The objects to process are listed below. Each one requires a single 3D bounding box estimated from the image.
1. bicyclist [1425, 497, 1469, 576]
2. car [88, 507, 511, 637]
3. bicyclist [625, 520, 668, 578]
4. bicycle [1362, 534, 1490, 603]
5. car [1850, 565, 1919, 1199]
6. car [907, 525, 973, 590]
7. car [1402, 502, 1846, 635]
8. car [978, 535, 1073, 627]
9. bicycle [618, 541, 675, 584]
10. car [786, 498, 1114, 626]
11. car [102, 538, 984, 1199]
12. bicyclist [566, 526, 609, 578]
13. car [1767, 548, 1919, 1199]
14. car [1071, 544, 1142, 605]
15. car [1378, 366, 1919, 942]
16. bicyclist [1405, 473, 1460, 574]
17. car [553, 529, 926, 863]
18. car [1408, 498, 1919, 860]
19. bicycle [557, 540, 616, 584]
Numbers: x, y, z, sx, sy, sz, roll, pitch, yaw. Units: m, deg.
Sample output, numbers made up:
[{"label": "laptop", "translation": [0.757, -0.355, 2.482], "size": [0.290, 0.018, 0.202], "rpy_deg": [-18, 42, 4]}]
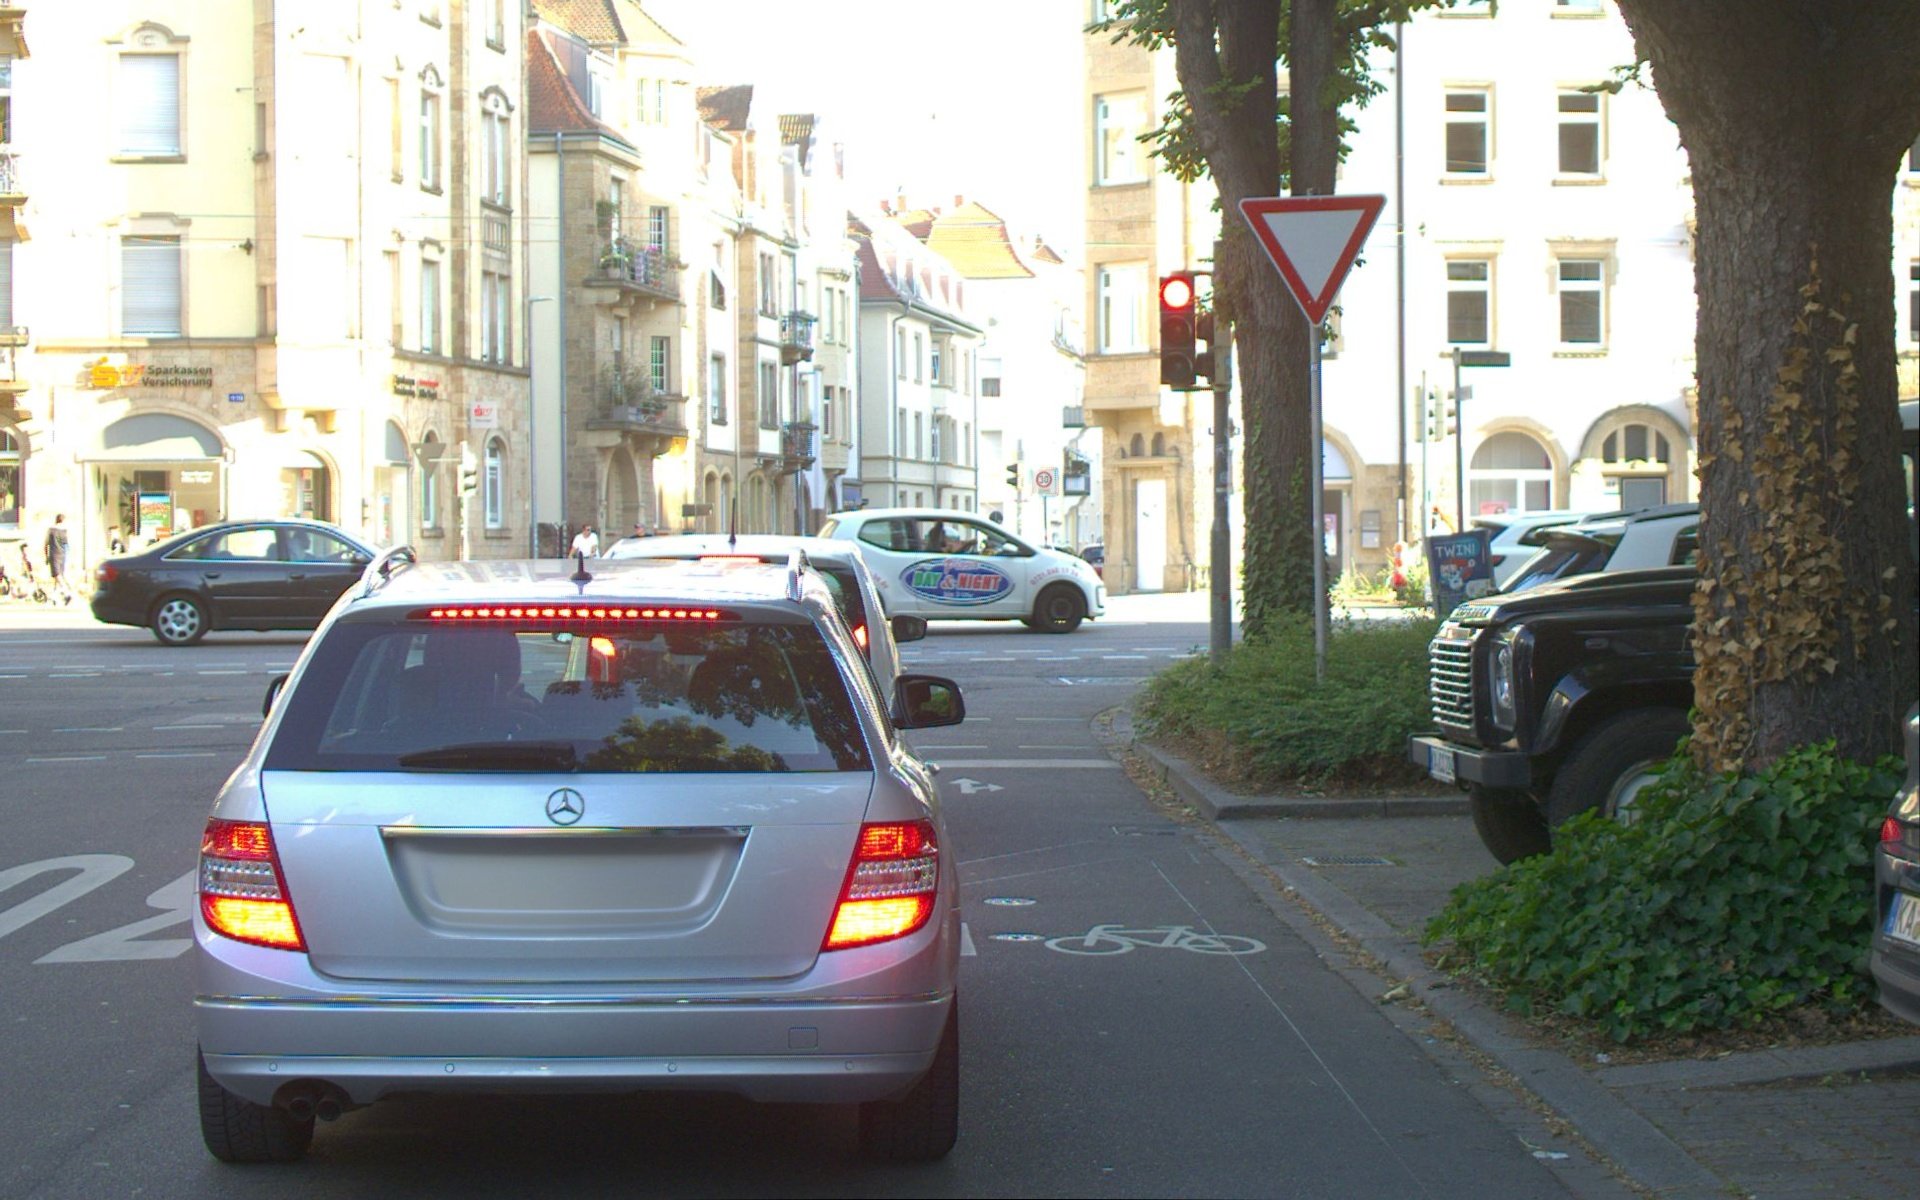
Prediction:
[{"label": "bicyclist", "translation": [8.791, -1.155, 62.088], "size": [0.643, 1.421, 0.637], "rpy_deg": [0, 1, -5]}, {"label": "car", "translation": [-7.587, -0.343, 39.777], "size": [4.687, 1.424, 1.719], "rpy_deg": [-1, 1, -9]}, {"label": "bicyclist", "translation": [-6.978, -1.138, 76.573], "size": [0.771, 1.285, 0.752], "rpy_deg": [1, 2, 11]}, {"label": "bicycle", "translation": [8.621, -0.585, 63.607], "size": [2.256, 1.242, 0.637], "rpy_deg": [0, 1, -5]}, {"label": "car", "translation": [3.715, 0.626, 5.530], "size": [4.052, 1.447, 1.723], "rpy_deg": [-1, 1, -4]}, {"label": "car", "translation": [-0.690, -1.508, 120.495], "size": [1.787, 2.196, 3.999], "rpy_deg": [0, 2, 8]}, {"label": "car", "translation": [7.557, -0.382, 39.281], "size": [4.660, 1.443, 1.740], "rpy_deg": [-1, 1, -10]}, {"label": "car", "translation": [1.726, -0.512, 89.066], "size": [2.031, 2.272, 3.999], "rpy_deg": [0, 2, 8]}, {"label": "bicycle", "translation": [-6.979, -0.845, 76.579], "size": [0.771, 0.930, 1.939], "rpy_deg": [1, 2, 10]}, {"label": "car", "translation": [-0.139, -0.464, 40.698], "size": [3.685, 1.444, 1.516], "rpy_deg": [-1, 1, -9]}, {"label": "car", "translation": [-0.947, 0.574, 9.248], "size": [1.777, 1.447, 4.549], "rpy_deg": [0, 1, -3]}, {"label": "bicyclist", "translation": [-8.285, -1.076, 76.555], "size": [0.771, 1.152, 0.752], "rpy_deg": [1, 2, 11]}, {"label": "car", "translation": [3.923, 0.572, 7.761], "size": [3.723, 1.447, 1.709], "rpy_deg": [-1, 1, -4]}, {"label": "car", "translation": [4.498, -0.798, 105.116], "size": [1.835, 1.738, 3.999], "rpy_deg": [0, 2, 8]}, {"label": "car", "translation": [4.013, 0.141, 13.320], "size": [4.464, 2.029, 1.701], "rpy_deg": [-1, 1, -4]}, {"label": "bicyclist", "translation": [8.743, -1.418, 63.598], "size": [0.891, 1.853, 0.637], "rpy_deg": [0, 1, -5]}, {"label": "car", "translation": [-1.061, 0.377, 17.200], "size": [1.619, 1.442, 4.345], "rpy_deg": [0, 1, -3]}, {"label": "car", "translation": [4.150, 0.313, 16.273], "size": [3.723, 1.564, 1.709], "rpy_deg": [-1, 1, -4]}, {"label": "bicycle", "translation": [-8.302, -0.853, 76.482], "size": [0.771, 0.936, 1.939], "rpy_deg": [1, 2, 10]}]
